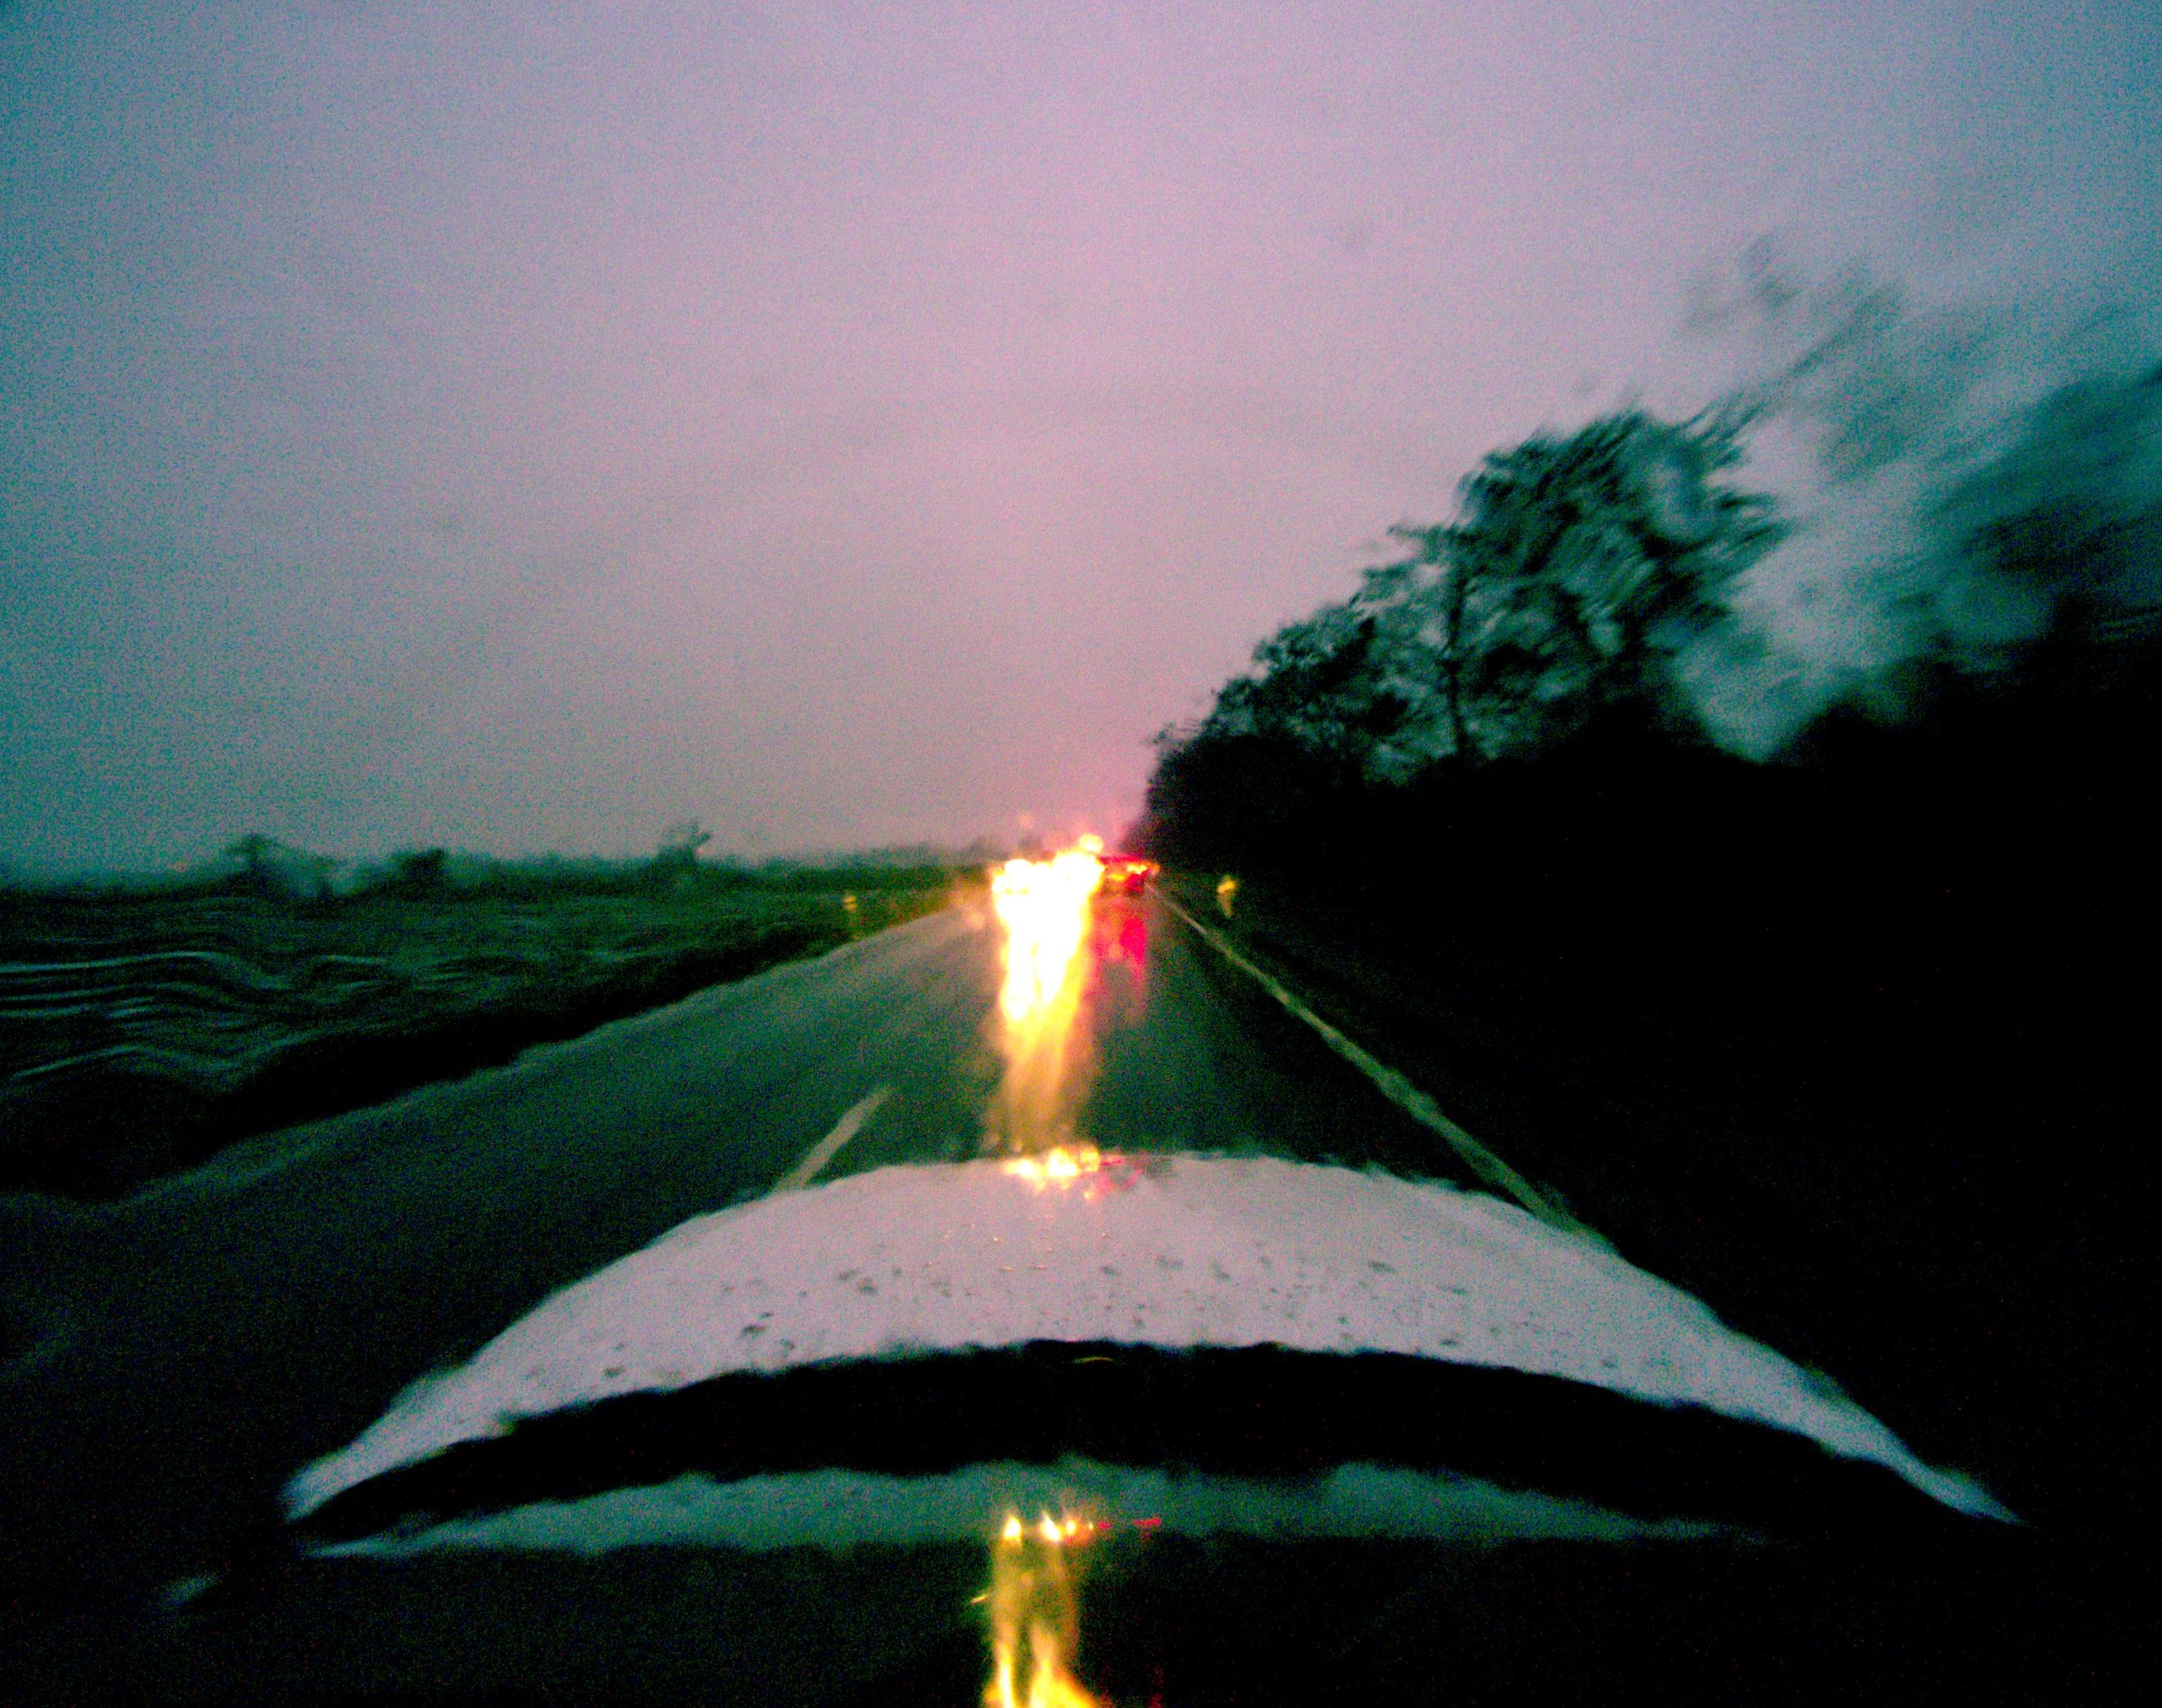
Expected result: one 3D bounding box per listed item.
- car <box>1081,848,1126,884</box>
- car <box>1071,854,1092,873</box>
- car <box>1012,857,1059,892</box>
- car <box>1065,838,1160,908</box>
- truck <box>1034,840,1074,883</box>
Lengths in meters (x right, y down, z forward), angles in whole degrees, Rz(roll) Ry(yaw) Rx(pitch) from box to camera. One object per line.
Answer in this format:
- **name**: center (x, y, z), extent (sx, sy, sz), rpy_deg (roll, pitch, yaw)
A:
- **car**: center (1.435, 0.711, 49.414), extent (2.581, 2.014, 5.808), rpy_deg (0, 0, 3)
- **car**: center (0.085, 0.976, 84.264), extent (1.986, 1.823, 4.001), rpy_deg (-4, 0, 1)
- **car**: center (-2.007, 0.890, 37.238), extent (1.722, 1.413, 4.024), rpy_deg (-4, 0, 1)
- **car**: center (1.084, 0.597, 27.092), extent (2.809, 2.077, 5.808), rpy_deg (0, 0, 3)
- **truck**: center (-1.816, 0.506, 57.530), extent (2.261, 2.634, 7.036), rpy_deg (-4, 0, 1)
